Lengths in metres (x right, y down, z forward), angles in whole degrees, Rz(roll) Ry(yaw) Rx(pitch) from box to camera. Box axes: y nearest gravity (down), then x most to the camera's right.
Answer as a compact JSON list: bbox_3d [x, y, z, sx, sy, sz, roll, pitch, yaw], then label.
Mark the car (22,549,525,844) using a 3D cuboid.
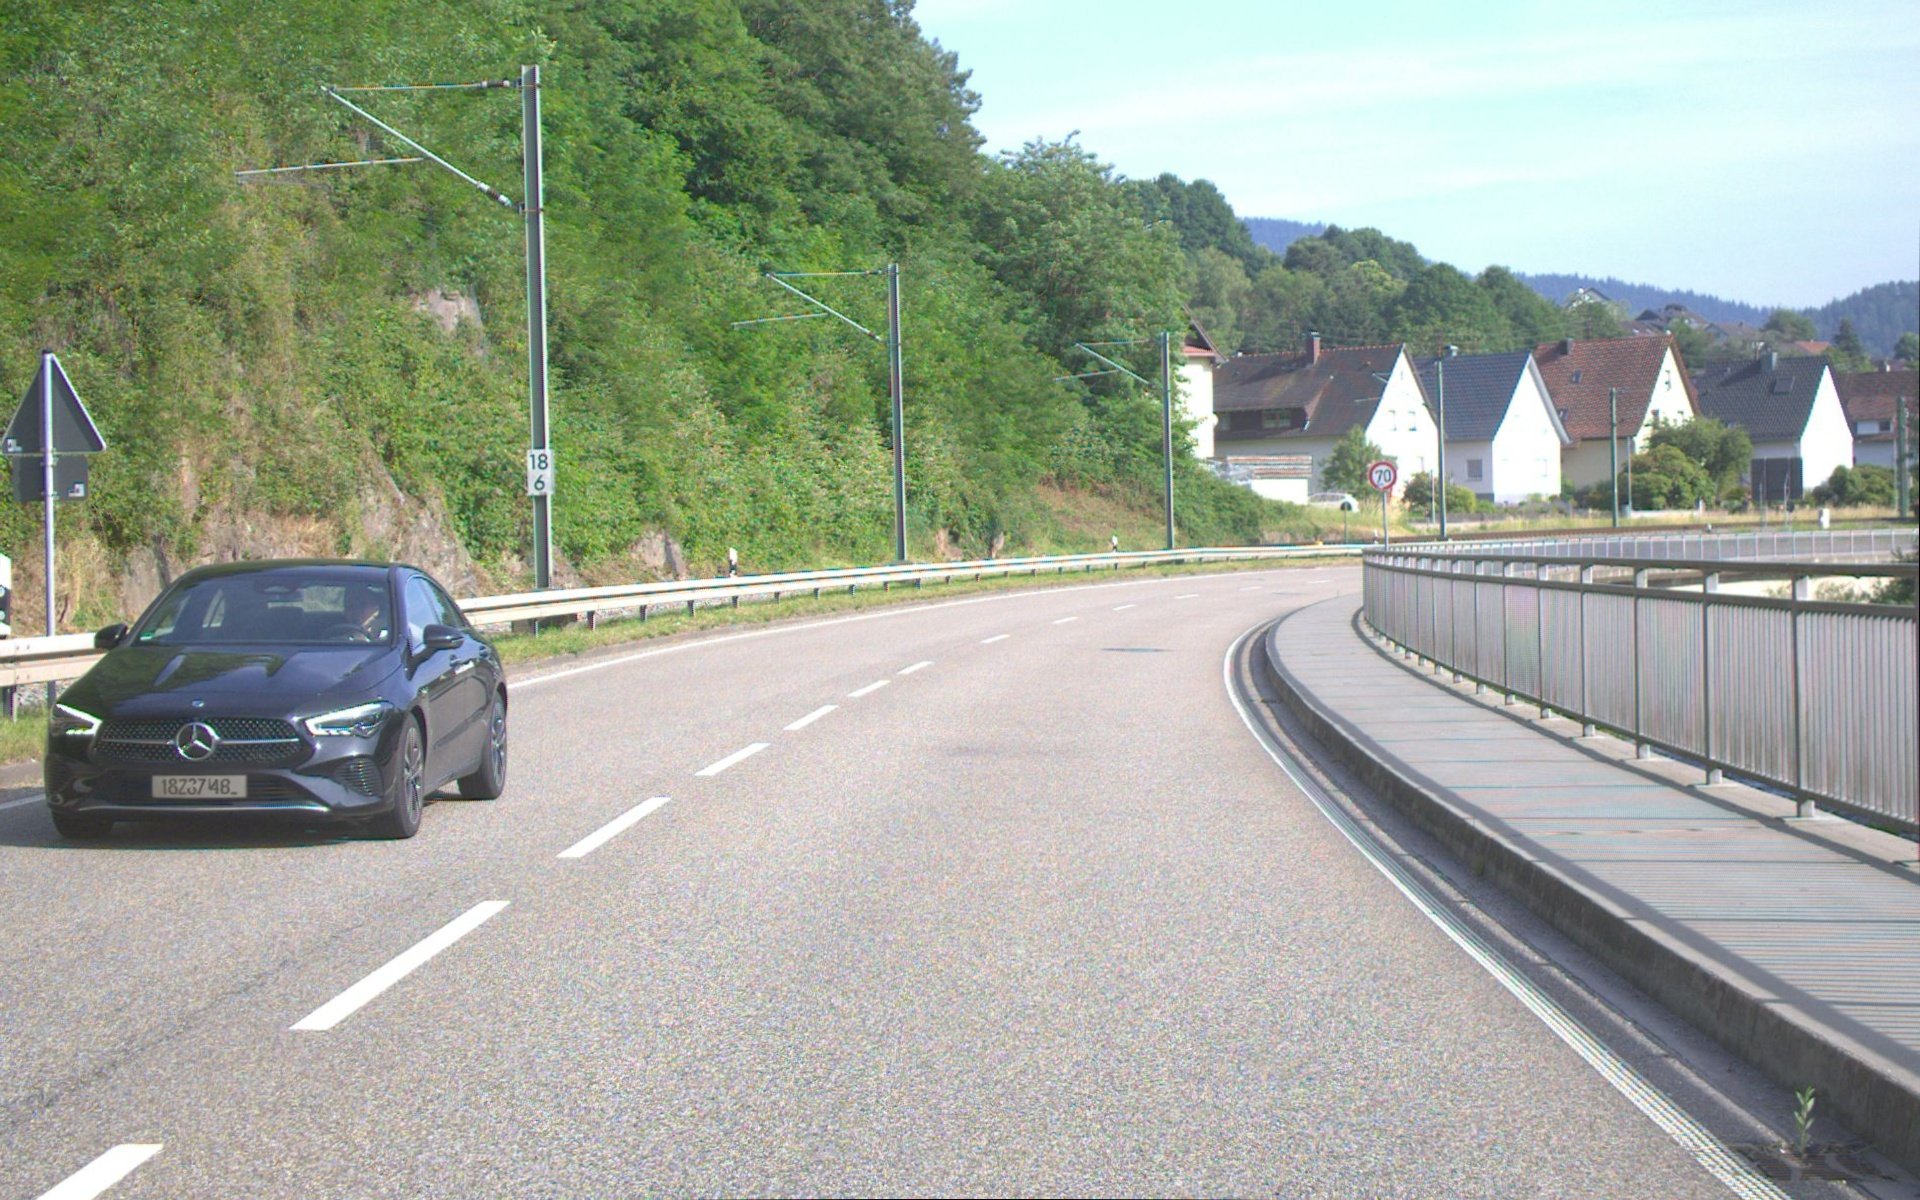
[{"bbox_3d":[-3.629,0.438,18.989,1.847,1.397,4.476,-1,1,0],"label":"car"}]
